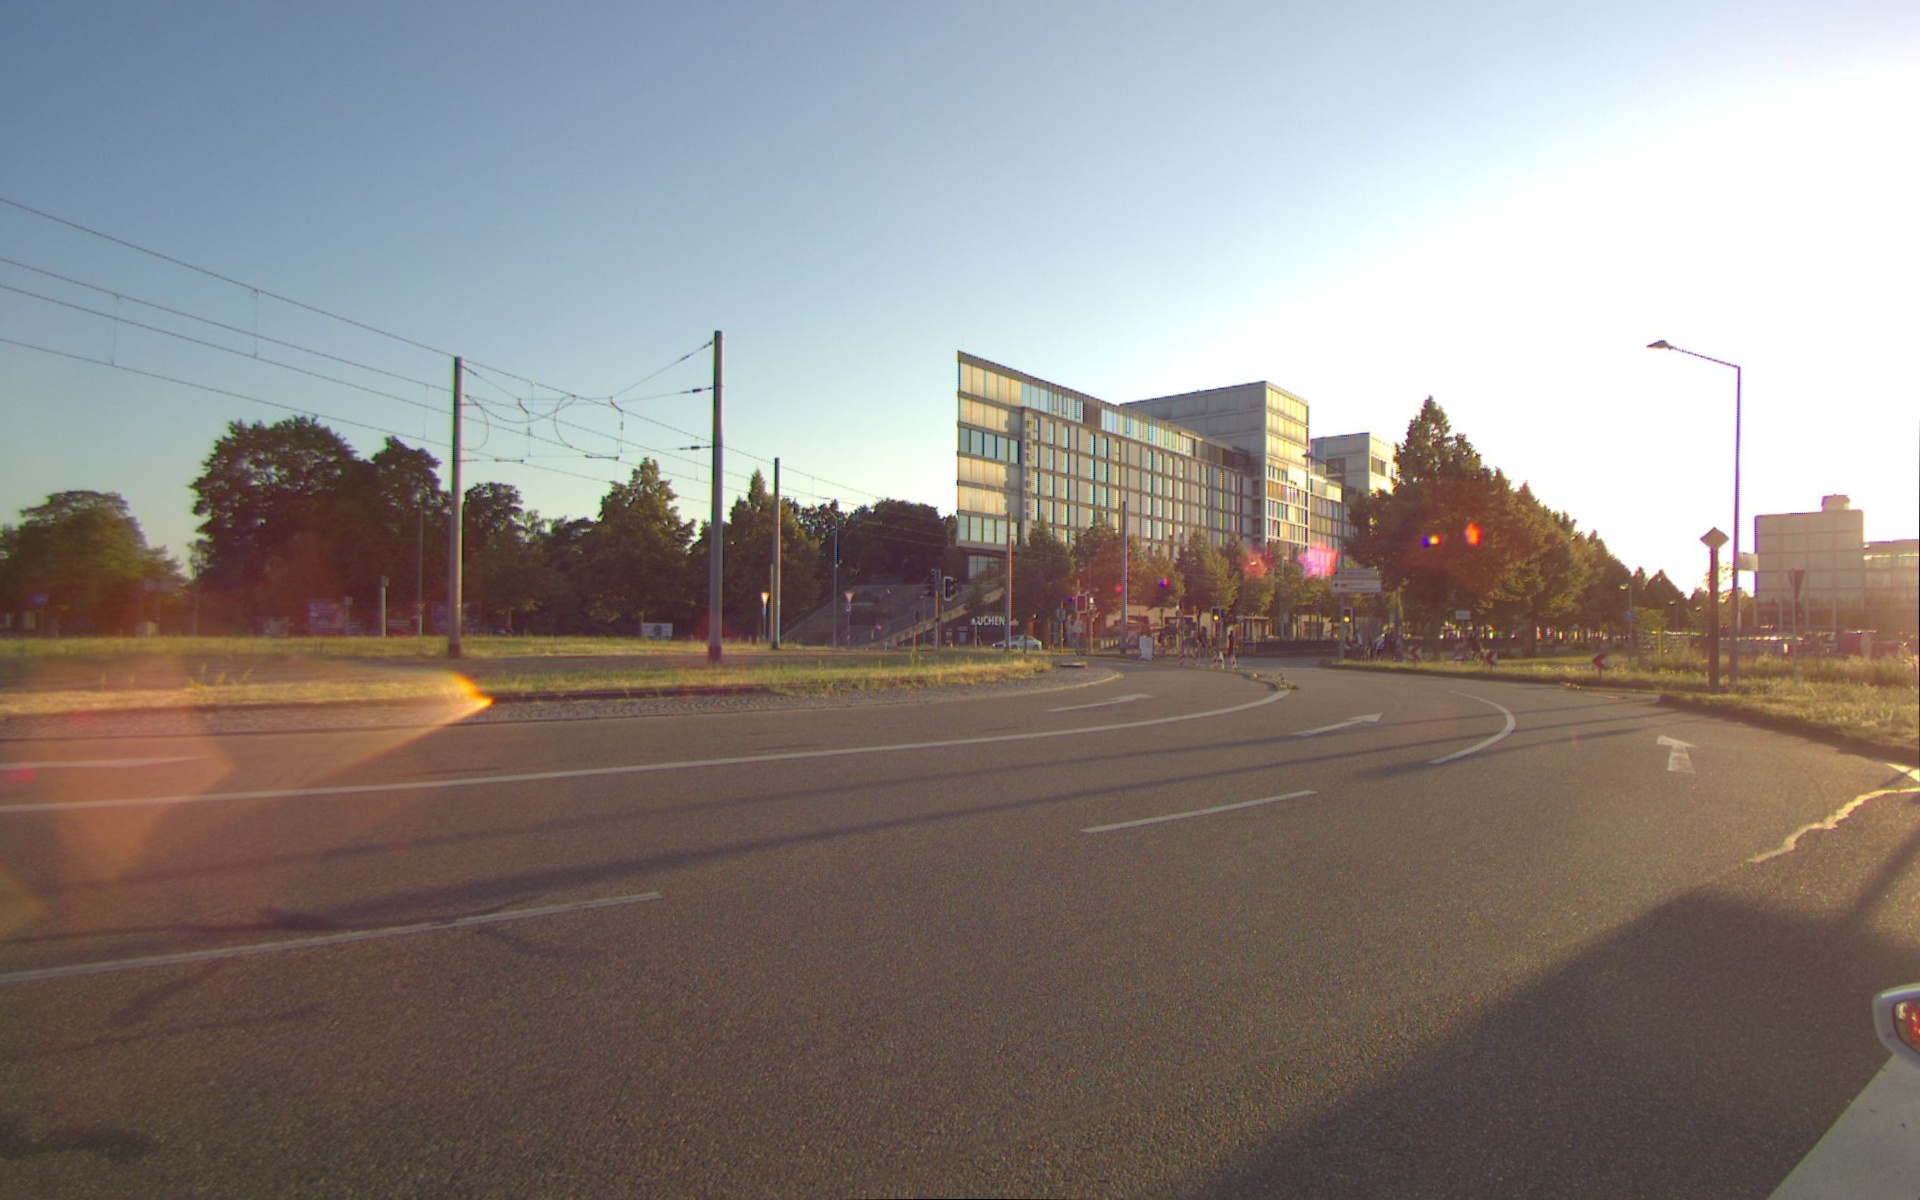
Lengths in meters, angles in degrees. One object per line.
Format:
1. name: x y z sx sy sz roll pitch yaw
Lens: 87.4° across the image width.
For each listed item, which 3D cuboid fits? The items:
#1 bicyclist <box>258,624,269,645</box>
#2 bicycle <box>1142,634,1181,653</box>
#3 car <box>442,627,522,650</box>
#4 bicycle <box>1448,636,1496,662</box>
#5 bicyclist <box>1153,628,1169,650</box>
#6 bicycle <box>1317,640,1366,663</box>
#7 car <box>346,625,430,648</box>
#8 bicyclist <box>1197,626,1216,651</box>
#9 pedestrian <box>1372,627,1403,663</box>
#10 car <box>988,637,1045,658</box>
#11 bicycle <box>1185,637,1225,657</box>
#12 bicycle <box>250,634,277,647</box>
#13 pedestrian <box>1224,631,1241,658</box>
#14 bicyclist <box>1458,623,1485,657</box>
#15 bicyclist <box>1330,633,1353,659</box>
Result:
1. bicyclist: -46.157 2.272 66.584 0.466 1.416 0.446 -1 -2 39
2. bicycle: 12.940 2.790 64.630 2.367 1.182 0.753 0 -2 31
3. car: -30.420 2.433 63.957 4.232 1.451 1.946 0 -2 10
4. bicycle: 25.034 2.381 49.160 0.742 1.182 2.403 1 -2 -14
5. bicyclist: 12.939 2.529 64.664 0.864 1.411 0.753 0 -1 31
6. bicycle: 20.866 2.815 54.988 2.375 1.182 0.750 -1 -2 43
7. car: -36.967 2.353 64.961 4.501 1.451 1.946 0 -2 9
8. bicyclist: 15.444 2.398 62.933 0.960 1.545 0.753 0 -1 28
9. pedestrian: 22.439 2.354 52.741 0.967 1.851 1.153 1 -1 -28
10. car: 4.595 3.817 80.841 1.969 1.565 5.180 0 -2 39
11. bicycle: 15.346 2.946 62.940 2.365 1.182 0.753 0 -1 28
12. bicycle: -46.175 2.691 66.577 0.466 0.802 1.413 -1 -2 38
13. pedestrian: 17.612 2.869 64.952 0.873 1.730 0.792 0 -1 34
14. bicyclist: 25.028 1.967 49.146 0.742 1.634 0.975 1 -1 -14
15. bicyclist: 20.860 2.523 54.972 0.964 1.412 0.750 -1 -2 42
